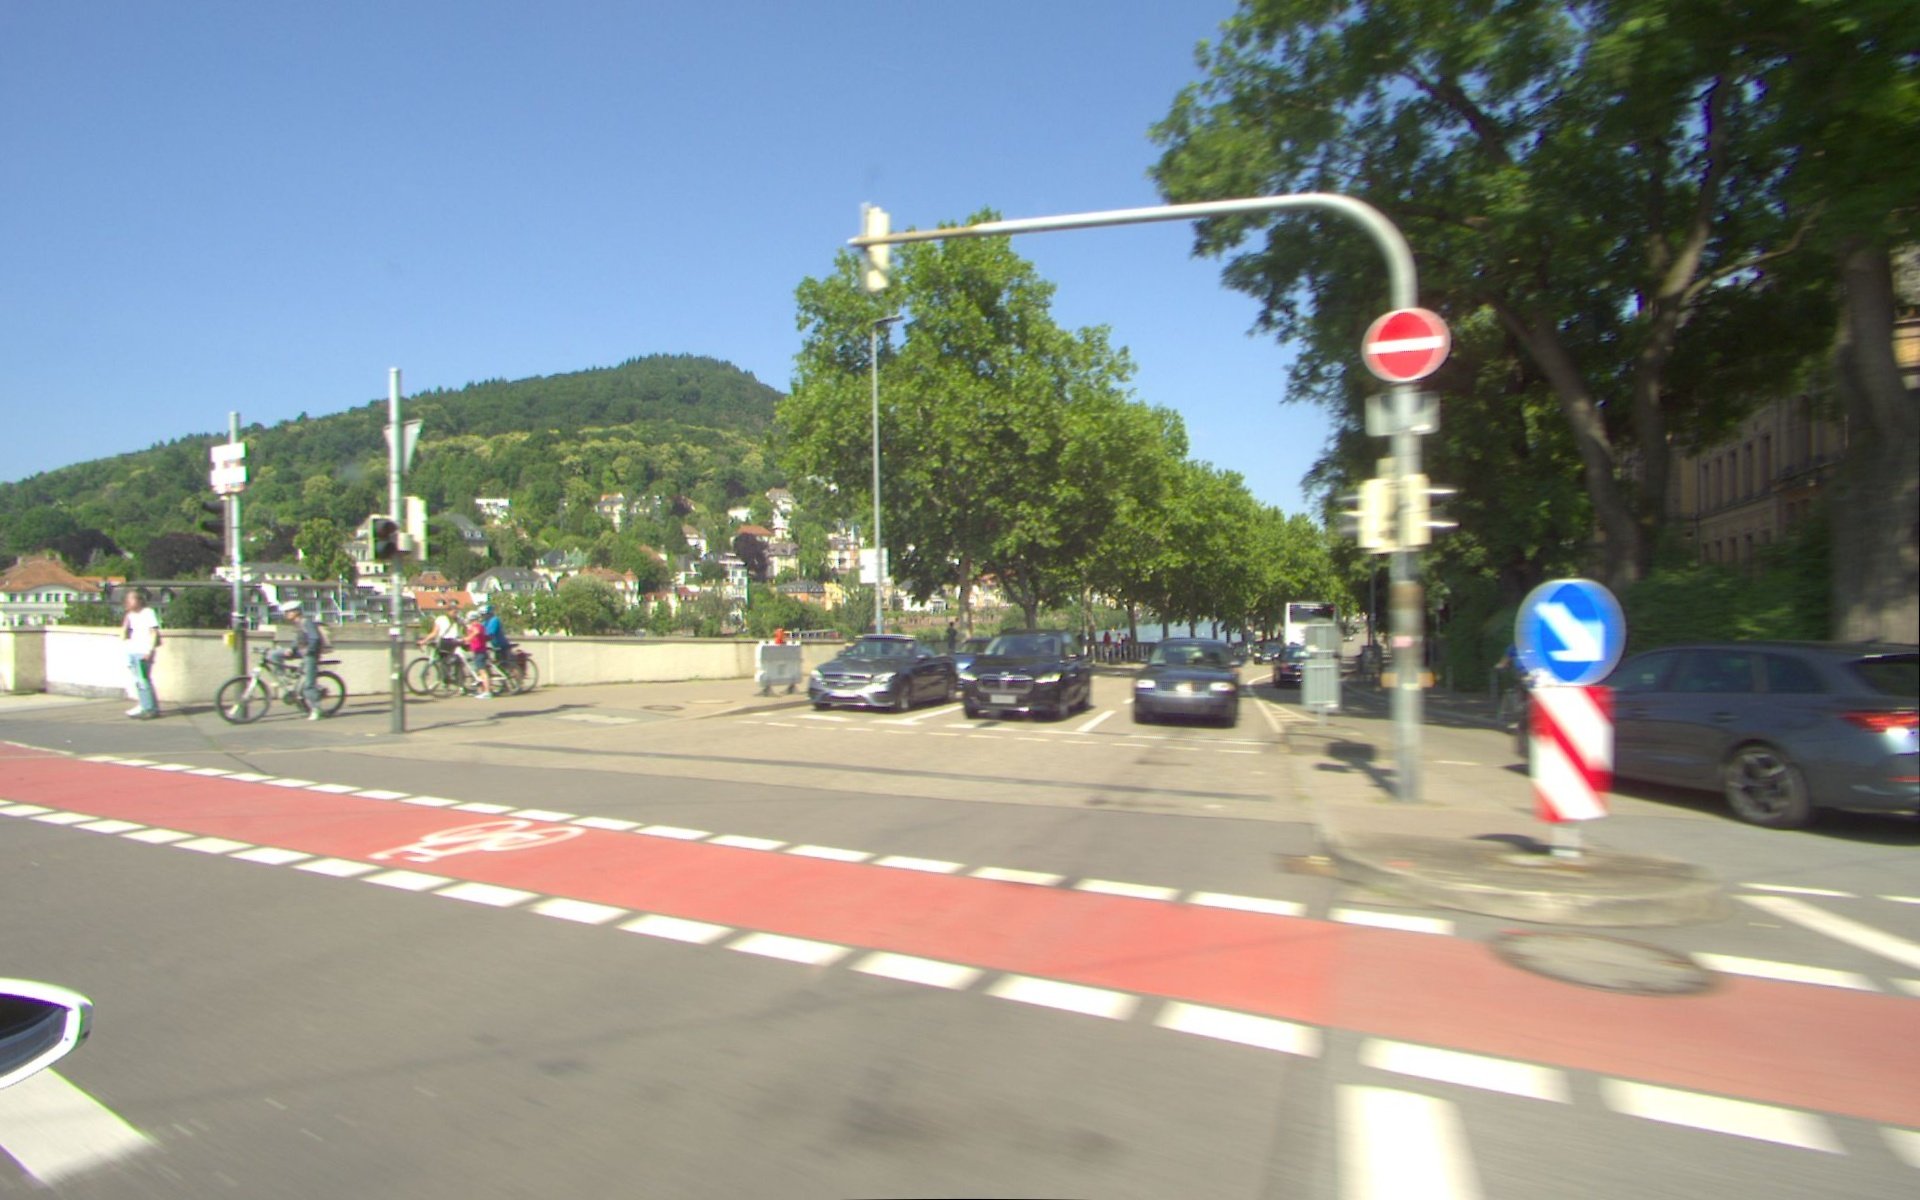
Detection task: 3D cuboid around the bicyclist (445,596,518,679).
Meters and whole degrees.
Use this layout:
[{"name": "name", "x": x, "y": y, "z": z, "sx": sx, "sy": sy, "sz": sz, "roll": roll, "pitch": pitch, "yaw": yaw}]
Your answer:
[{"name": "bicyclist", "x": -8.907, "y": 0.702, "z": 18.656, "sx": 1.071, "sy": 1.493, "sz": 0.756, "roll": 2, "pitch": -1, "yaw": -39}]

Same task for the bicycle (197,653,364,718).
[{"name": "bicycle", "x": -9.709, "y": 1.195, "z": 14.397, "sx": 0.557, "sy": 0.837, "sz": 1.937, "roll": 0, "pitch": -1, "yaw": 30}]

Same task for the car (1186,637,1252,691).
[{"name": "car", "x": 8.006, "y": 1.917, "z": 30.925, "sx": 1.813, "sy": 1.461, "sz": 4.482, "roll": 1, "pitch": -1, "yaw": 15}]

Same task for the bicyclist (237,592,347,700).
[{"name": "bicyclist", "x": -9.655, "y": 0.655, "z": 14.493, "sx": 0.788, "sy": 1.493, "sz": 1.079, "roll": 0, "pitch": -1, "yaw": 30}]

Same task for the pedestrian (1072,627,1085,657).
[{"name": "pedestrian", "x": 7.204, "y": 2.523, "z": 60.849, "sx": 0.665, "sy": 1.798, "sz": 0.741, "roll": 1, "pitch": 0, "yaw": 20}]

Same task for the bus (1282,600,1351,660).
[{"name": "bus", "x": 18.385, "y": 1.460, "z": 51.837, "sx": 3.054, "sy": 2.819, "sz": 8.838, "roll": -1, "pitch": -1, "yaw": 19}]

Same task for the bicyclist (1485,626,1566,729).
[{"name": "bicyclist", "x": 9.080, "y": 1.214, "z": 16.119, "sx": 0.762, "sy": 1.574, "sz": 1.059, "roll": 0, "pitch": 1, "yaw": 7}]

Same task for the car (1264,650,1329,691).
[{"name": "car", "x": 11.394, "y": 2.369, "z": 34.171, "sx": 1.813, "sy": 1.172, "sz": 4.483, "roll": 1, "pitch": -1, "yaw": 15}]

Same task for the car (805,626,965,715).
[{"name": "car", "x": -1.360, "y": 1.314, "z": 20.133, "sx": 1.813, "sy": 1.414, "sz": 4.480, "roll": 0, "pitch": 0, "yaw": 15}]

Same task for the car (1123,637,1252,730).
[{"name": "car", "x": 4.172, "y": 1.381, "z": 17.866, "sx": 1.848, "sy": 1.375, "sz": 4.310, "roll": 1, "pitch": -1, "yaw": 18}]

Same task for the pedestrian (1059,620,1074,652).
[{"name": "pedestrian", "x": 6.011, "y": 2.033, "z": 56.668, "sx": 0.665, "sy": 1.798, "sz": 0.741, "roll": 1, "pitch": 0, "yaw": 20}]

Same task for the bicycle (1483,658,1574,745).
[{"name": "bicycle", "x": 9.118, "y": 1.583, "z": 16.139, "sx": 0.704, "sy": 1.241, "sz": 2.002, "roll": 1, "pitch": -1, "yaw": 13}]

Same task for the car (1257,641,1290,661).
[{"name": "car", "x": 21.088, "y": 3.428, "z": 67.231, "sx": 1.731, "sy": 1.238, "sz": 3.286, "roll": 0, "pitch": -1, "yaw": 25}]

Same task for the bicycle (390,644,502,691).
[{"name": "bicycle", "x": -9.925, "y": 1.290, "z": 19.425, "sx": 0.557, "sy": 0.837, "sz": 1.937, "roll": 0, "pitch": -1, "yaw": 30}]

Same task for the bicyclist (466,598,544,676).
[{"name": "bicyclist", "x": -8.972, "y": 0.723, "z": 19.768, "sx": 0.915, "sy": 1.493, "sz": 1.077, "roll": 0, "pitch": -1, "yaw": 34}]

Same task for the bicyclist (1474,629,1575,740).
[{"name": "bicyclist", "x": 9.053, "y": 1.326, "z": 16.114, "sx": 1.150, "sy": 1.699, "sz": 1.088, "roll": 1, "pitch": -1, "yaw": 14}]

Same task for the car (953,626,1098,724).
[{"name": "car", "x": 1.357, "y": 1.272, "z": 18.606, "sx": 1.813, "sy": 1.525, "sz": 4.482, "roll": 2, "pitch": -1, "yaw": 15}]

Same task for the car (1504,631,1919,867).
[{"name": "car", "x": 7.004, "y": 1.059, "z": 8.767, "sx": 1.961, "sy": 1.510, "sz": 4.285, "roll": 1, "pitch": -1, "yaw": -3}]

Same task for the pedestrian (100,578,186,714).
[{"name": "pedestrian", "x": -11.739, "y": 0.642, "z": 14.389, "sx": 0.634, "sy": 1.880, "sz": 0.773, "roll": 1, "pitch": 0, "yaw": 29}]

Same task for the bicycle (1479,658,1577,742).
[{"name": "bicycle", "x": 9.115, "y": 1.565, "z": 16.175, "sx": 0.605, "sy": 1.179, "sz": 2.250, "roll": 1, "pitch": -1, "yaw": 9}]

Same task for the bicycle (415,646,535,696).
[{"name": "bicycle", "x": -9.000, "y": 1.298, "z": 18.629, "sx": 1.925, "sy": 0.865, "sz": 0.560, "roll": 2, "pitch": -1, "yaw": -41}]

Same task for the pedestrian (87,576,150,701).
[{"name": "pedestrian", "x": -12.277, "y": 0.554, "z": 14.609, "sx": 0.568, "sy": 1.783, "sz": 0.533, "roll": 1, "pitch": 0, "yaw": 29}]

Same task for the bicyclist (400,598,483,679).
[{"name": "bicyclist", "x": -9.978, "y": 0.727, "z": 19.287, "sx": 0.914, "sy": 1.493, "sz": 1.078, "roll": 0, "pitch": -1, "yaw": 32}]

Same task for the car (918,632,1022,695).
[{"name": "car", "x": 0.369, "y": 1.628, "z": 26.715, "sx": 1.813, "sy": 1.466, "sz": 4.483, "roll": 1, "pitch": -1, "yaw": 13}]
